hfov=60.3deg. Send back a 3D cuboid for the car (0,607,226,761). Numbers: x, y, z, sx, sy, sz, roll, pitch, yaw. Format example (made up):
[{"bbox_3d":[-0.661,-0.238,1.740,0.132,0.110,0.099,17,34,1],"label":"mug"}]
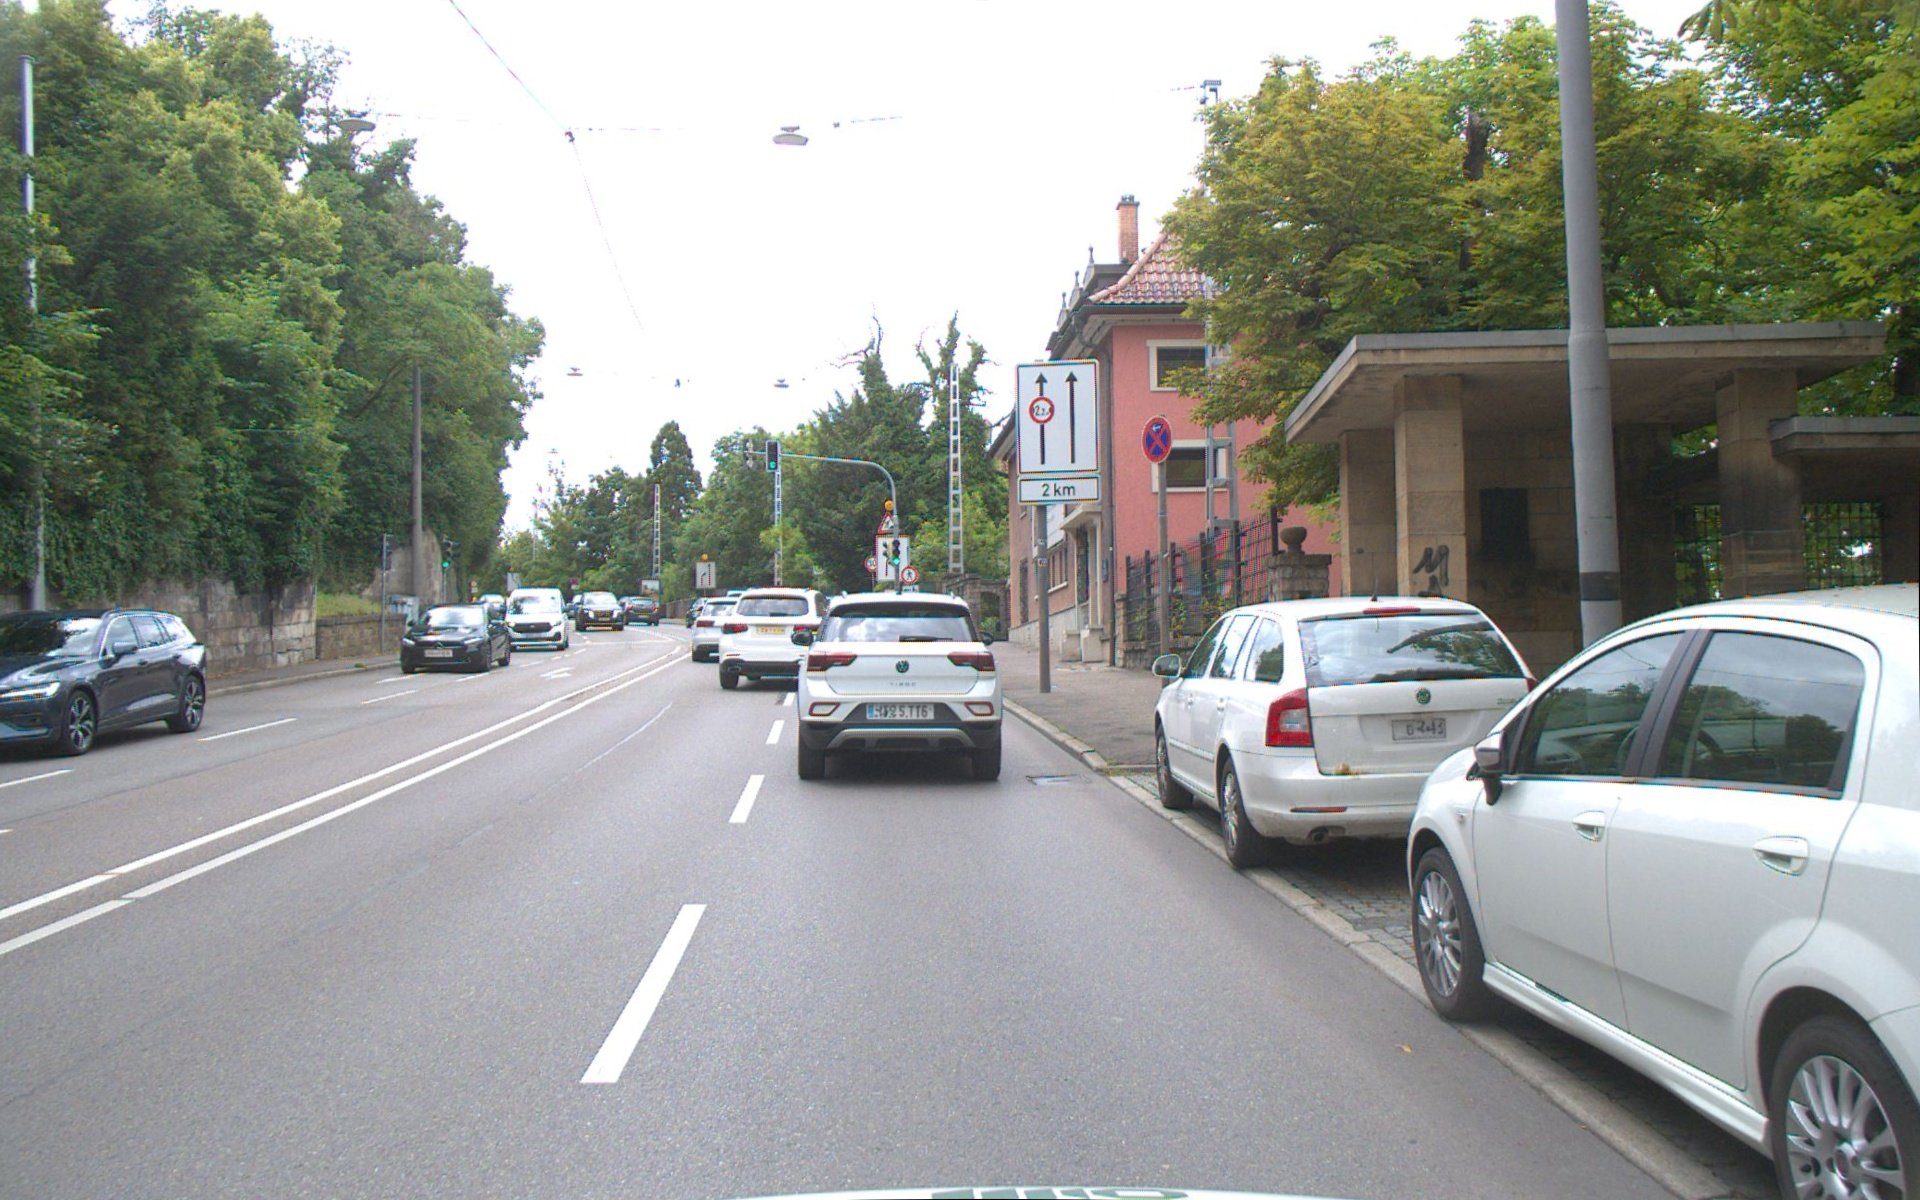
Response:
[{"bbox_3d":[-9.637,0.824,17.705,1.806,1.434,4.452,-2,0,-4],"label":"car"}]

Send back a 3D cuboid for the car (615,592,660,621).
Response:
[{"bbox_3d":[-16.923,0.342,86.683,1.754,1.480,3.977,1,-1,-19],"label":"car"}]

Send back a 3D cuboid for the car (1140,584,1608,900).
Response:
[{"bbox_3d":[2.288,0.702,10.361,1.642,1.486,4.363,-2,0,-2],"label":"car"}]

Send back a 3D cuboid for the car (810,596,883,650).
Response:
[{"bbox_3d":[-3.217,0.652,46.700,1.954,1.439,4.146,-1,-1,-5],"label":"car"}]

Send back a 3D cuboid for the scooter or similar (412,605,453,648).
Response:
[{"bbox_3d":[-16.280,0.819,51.072,0.426,1.259,1.094,3,-2,36],"label":"scooter or similar"}]

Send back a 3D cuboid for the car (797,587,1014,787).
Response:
[{"bbox_3d":[-0.552,0.729,15.217,1.723,1.583,3.792,1,-1,-4],"label":"car"}]

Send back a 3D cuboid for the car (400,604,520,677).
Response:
[{"bbox_3d":[-10.668,0.835,35.541,1.531,1.426,4.250,-2,0,-4],"label":"car"}]

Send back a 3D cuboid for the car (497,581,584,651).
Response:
[{"bbox_3d":[-12.536,0.505,49.643,1.857,1.880,4.389,5,-2,-7],"label":"car"}]

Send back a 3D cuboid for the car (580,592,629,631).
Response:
[{"bbox_3d":[-15.570,0.472,72.581,1.814,1.661,4.353,0,0,-8],"label":"car"}]

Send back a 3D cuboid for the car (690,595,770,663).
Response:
[{"bbox_3d":[-5.394,0.673,38.857,1.725,1.497,3.788,1,-1,-8],"label":"car"}]

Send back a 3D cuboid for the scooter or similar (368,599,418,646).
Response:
[{"bbox_3d":[-17.059,0.683,49.820,0.425,1.259,1.348,3,-6,29],"label":"scooter or similar"}]

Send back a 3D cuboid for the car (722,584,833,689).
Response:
[{"bbox_3d":[-3.092,0.613,28.180,1.724,1.638,3.790,1,-1,-6],"label":"car"}]

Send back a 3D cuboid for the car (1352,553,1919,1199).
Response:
[{"bbox_3d":[2.622,0.647,4.896,1.681,1.497,4.036,-4,0,-3],"label":"car"}]
